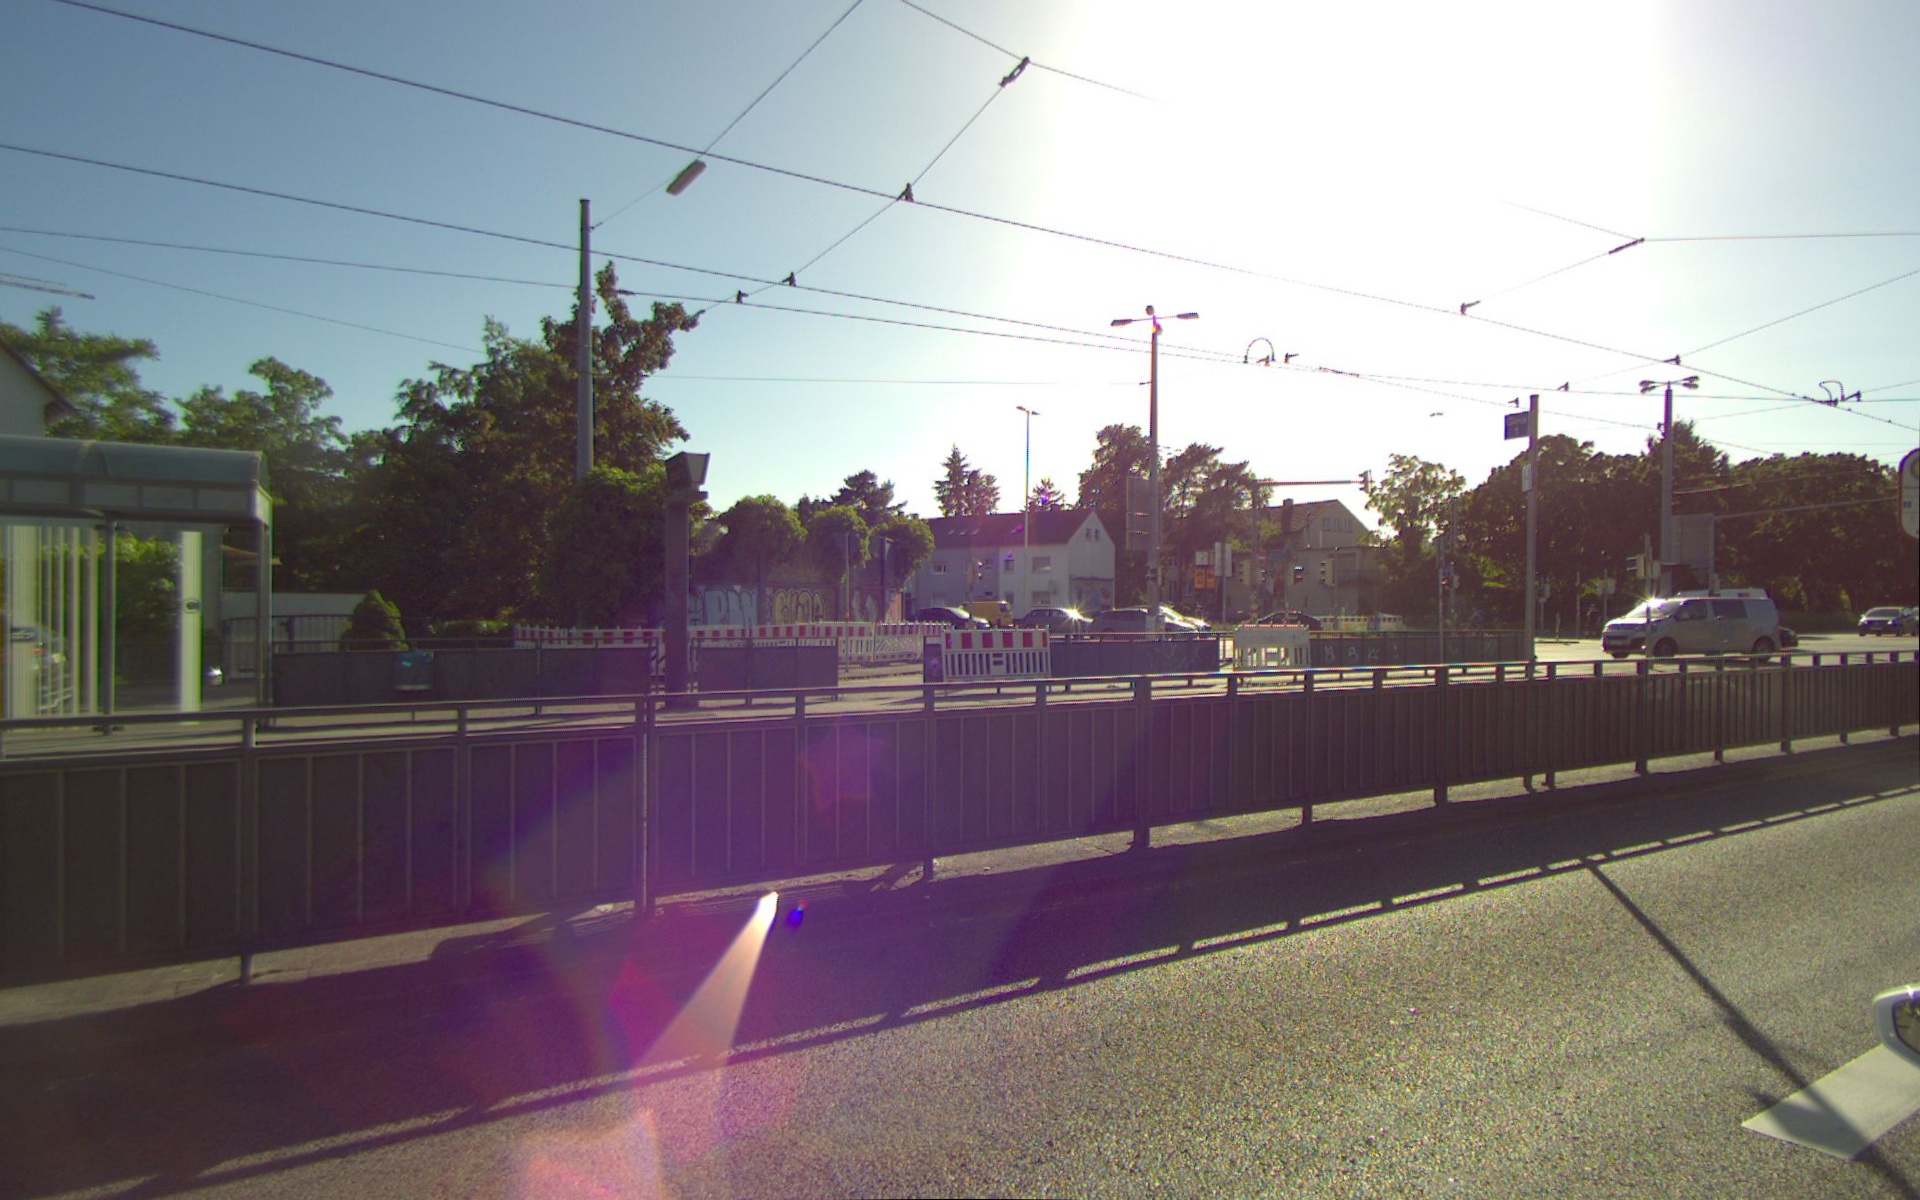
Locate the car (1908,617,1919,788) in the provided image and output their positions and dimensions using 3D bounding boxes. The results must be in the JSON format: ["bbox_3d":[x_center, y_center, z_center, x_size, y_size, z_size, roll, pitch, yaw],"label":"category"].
[{"bbox_3d":[9.878,0.883,8.683,3.312,1.436,1.611,1,-1,-31],"label":"car"}]

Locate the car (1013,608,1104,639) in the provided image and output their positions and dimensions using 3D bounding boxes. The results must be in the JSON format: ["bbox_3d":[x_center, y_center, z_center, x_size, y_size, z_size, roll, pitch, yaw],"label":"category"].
[{"bbox_3d":[4.699,1.119,48.260,4.104,1.451,1.589,0,-1,34],"label":"car"}]

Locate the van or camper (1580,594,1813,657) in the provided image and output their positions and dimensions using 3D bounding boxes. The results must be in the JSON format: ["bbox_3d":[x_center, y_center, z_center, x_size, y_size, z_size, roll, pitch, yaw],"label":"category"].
[{"bbox_3d":[22.238,0.761,30.449,5.873,1.852,1.999,0,0,-5],"label":"van or camper"}]

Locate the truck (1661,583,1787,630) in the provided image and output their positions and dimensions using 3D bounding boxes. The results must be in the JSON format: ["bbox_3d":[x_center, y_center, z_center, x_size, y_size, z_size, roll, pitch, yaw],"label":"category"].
[{"bbox_3d":[43.350,0.368,56.976,6.708,2.599,1.994,0,0,-15],"label":"truck"}]

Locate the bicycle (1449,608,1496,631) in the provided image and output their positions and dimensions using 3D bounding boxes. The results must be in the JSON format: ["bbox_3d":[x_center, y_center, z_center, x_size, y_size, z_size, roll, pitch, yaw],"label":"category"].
[{"bbox_3d":[30.380,1.149,59.603,2.370,1.279,0.813,0,0,43],"label":"bicycle"}]

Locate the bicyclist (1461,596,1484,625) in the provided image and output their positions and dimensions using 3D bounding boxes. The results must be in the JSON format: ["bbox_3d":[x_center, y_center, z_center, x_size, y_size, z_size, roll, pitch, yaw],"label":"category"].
[{"bbox_3d":[30.406,0.620,59.601,0.995,1.669,0.813,0,0,42],"label":"bicyclist"}]

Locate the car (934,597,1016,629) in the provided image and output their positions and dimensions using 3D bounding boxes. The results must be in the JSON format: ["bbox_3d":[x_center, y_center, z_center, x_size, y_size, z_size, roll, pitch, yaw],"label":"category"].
[{"bbox_3d":[0.953,0.816,65.709,5.084,1.905,1.994,2,1,34],"label":"car"}]

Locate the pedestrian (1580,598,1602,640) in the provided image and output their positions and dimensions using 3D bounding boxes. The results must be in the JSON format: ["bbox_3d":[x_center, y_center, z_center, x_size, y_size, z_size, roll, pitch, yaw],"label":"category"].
[{"bbox_3d":[31.653,0.947,50.404,0.785,2.040,0.741,0,0,-42],"label":"pedestrian"}]

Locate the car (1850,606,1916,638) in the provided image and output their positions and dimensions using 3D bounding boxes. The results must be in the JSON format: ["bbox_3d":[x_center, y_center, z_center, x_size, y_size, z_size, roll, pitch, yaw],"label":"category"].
[{"bbox_3d":[47.244,1.126,51.380,3.963,1.569,1.819,1,-1,-37],"label":"car"}]

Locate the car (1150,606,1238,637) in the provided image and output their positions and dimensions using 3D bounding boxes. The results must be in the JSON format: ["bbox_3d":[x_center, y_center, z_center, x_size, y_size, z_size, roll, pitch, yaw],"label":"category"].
[{"bbox_3d":[11.577,1.037,49.800,3.937,1.498,1.708,0,-1,38],"label":"car"}]

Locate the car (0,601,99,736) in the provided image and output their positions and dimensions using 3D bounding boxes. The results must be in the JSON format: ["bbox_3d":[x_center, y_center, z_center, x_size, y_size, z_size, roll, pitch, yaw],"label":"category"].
[{"bbox_3d":[-12.717,0.775,11.329,4.294,1.540,1.727,0,-1,-31],"label":"car"}]

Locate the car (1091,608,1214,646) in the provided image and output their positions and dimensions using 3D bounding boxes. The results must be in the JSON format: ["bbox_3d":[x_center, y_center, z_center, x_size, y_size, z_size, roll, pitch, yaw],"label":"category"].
[{"bbox_3d":[7.995,1.098,41.964,4.754,1.517,1.780,0,-1,34],"label":"car"}]

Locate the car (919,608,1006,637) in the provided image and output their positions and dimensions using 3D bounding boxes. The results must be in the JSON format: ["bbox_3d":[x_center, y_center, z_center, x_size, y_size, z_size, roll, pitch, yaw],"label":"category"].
[{"bbox_3d":[0.130,1.148,51.589,4.212,1.451,1.788,0,-1,34],"label":"car"}]

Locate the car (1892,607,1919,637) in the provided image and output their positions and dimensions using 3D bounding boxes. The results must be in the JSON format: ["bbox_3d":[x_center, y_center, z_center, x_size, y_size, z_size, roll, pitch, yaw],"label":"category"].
[{"bbox_3d":[52.138,1.197,54.351,4.244,1.569,1.819,1,-1,-37],"label":"car"}]
